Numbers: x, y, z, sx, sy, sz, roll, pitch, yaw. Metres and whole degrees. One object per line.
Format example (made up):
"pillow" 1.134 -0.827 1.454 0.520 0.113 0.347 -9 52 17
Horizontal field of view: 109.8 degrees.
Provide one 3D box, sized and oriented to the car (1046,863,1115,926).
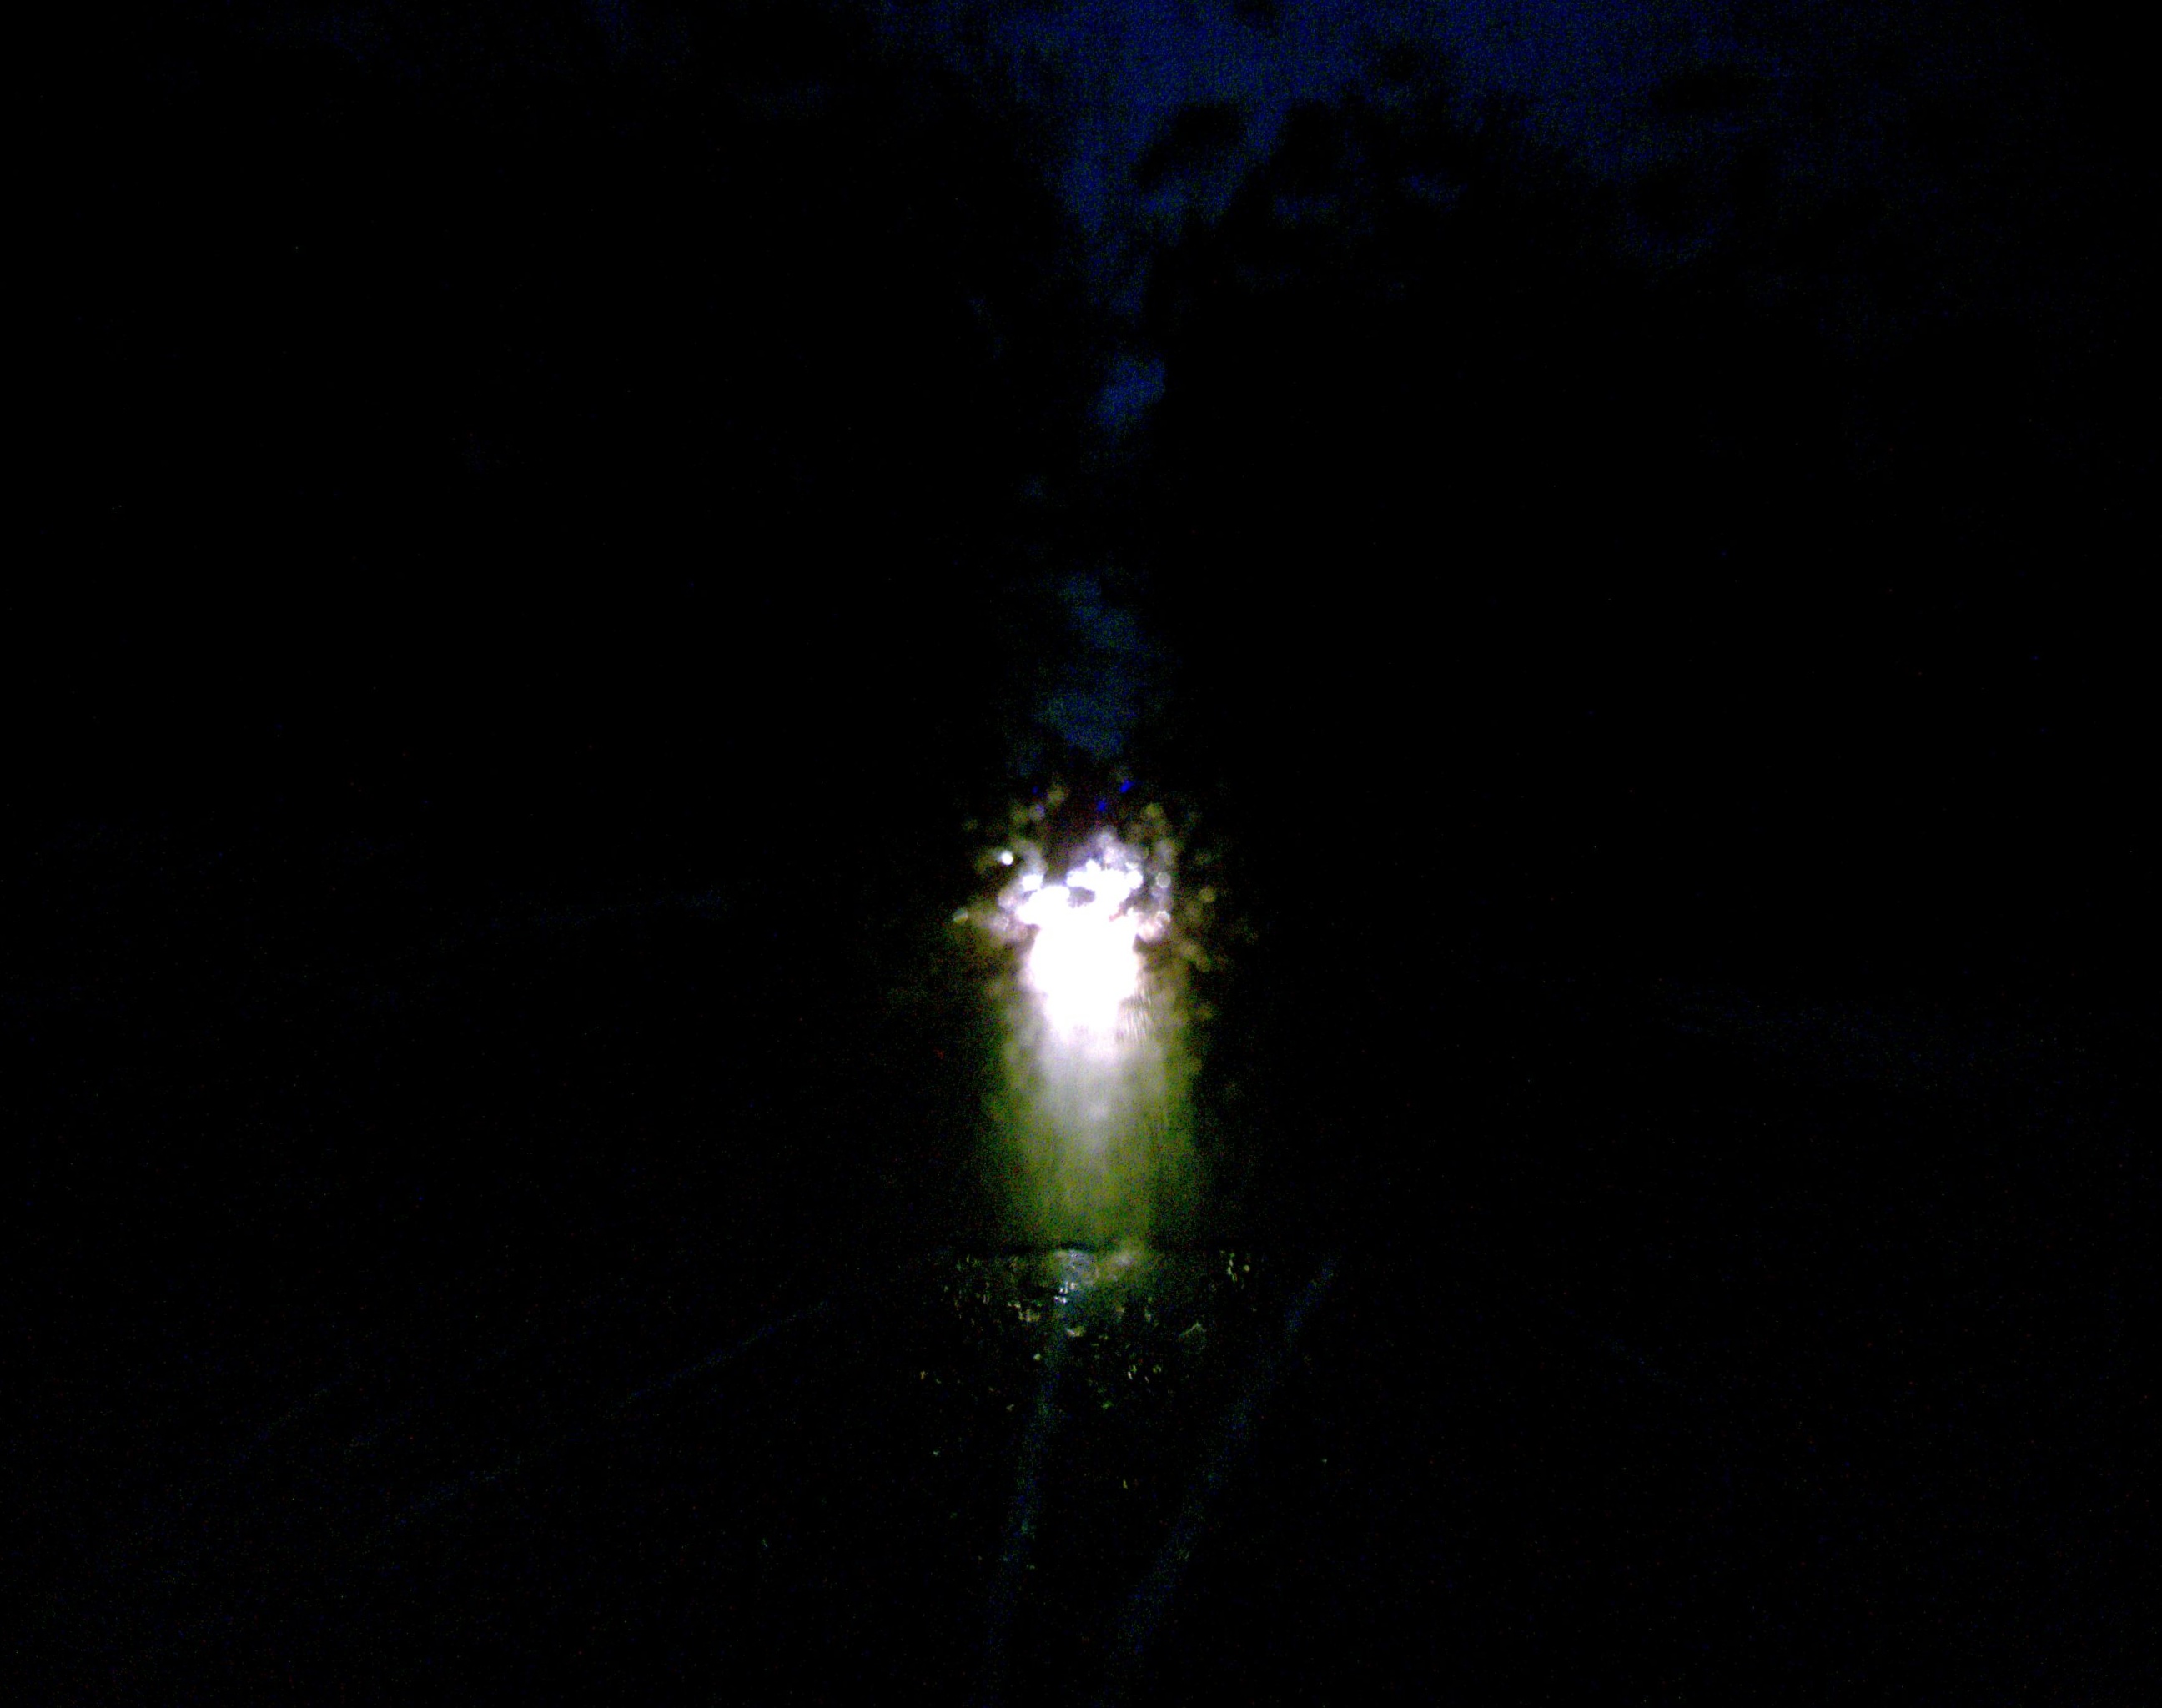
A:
"car" 0.037 1.018 20.511 1.649 1.446 3.681 -2 0 2
